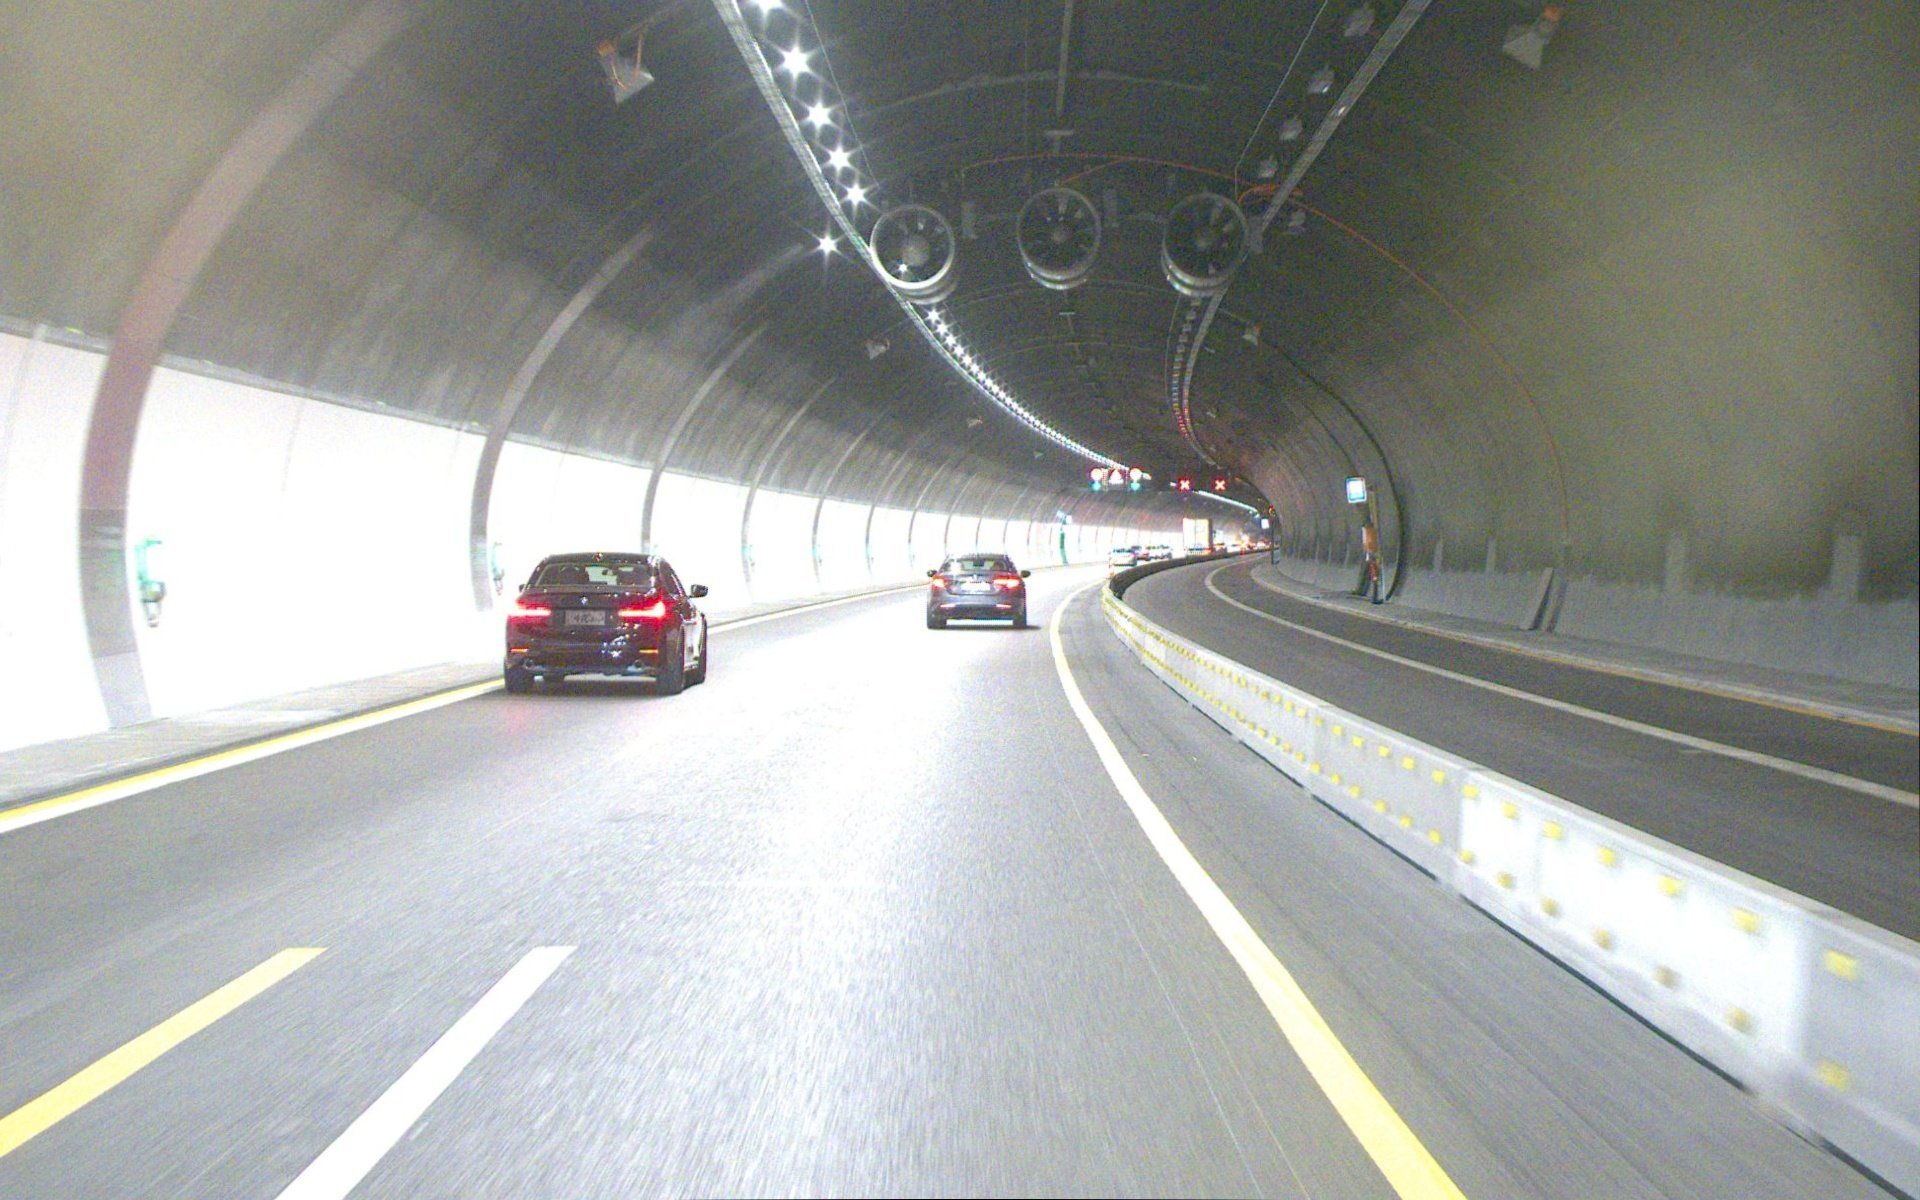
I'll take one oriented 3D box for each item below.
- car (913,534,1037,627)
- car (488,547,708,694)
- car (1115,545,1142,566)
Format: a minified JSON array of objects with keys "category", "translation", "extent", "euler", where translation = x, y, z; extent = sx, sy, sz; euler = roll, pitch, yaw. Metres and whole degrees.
[{"category":"car","translation":[0.324,-0.390,65.552],"extent":[2.141,1.700,4.000],"euler":[1,1,3]},{"category":"car","translation":[-3.791,0.166,36.732],"extent":[1.778,1.433,4.883],"euler":[1,1,0]},{"category":"car","translation":[10.907,-2.865,222.690],"extent":[1.595,1.328,3.750],"euler":[1,1,5]}]
